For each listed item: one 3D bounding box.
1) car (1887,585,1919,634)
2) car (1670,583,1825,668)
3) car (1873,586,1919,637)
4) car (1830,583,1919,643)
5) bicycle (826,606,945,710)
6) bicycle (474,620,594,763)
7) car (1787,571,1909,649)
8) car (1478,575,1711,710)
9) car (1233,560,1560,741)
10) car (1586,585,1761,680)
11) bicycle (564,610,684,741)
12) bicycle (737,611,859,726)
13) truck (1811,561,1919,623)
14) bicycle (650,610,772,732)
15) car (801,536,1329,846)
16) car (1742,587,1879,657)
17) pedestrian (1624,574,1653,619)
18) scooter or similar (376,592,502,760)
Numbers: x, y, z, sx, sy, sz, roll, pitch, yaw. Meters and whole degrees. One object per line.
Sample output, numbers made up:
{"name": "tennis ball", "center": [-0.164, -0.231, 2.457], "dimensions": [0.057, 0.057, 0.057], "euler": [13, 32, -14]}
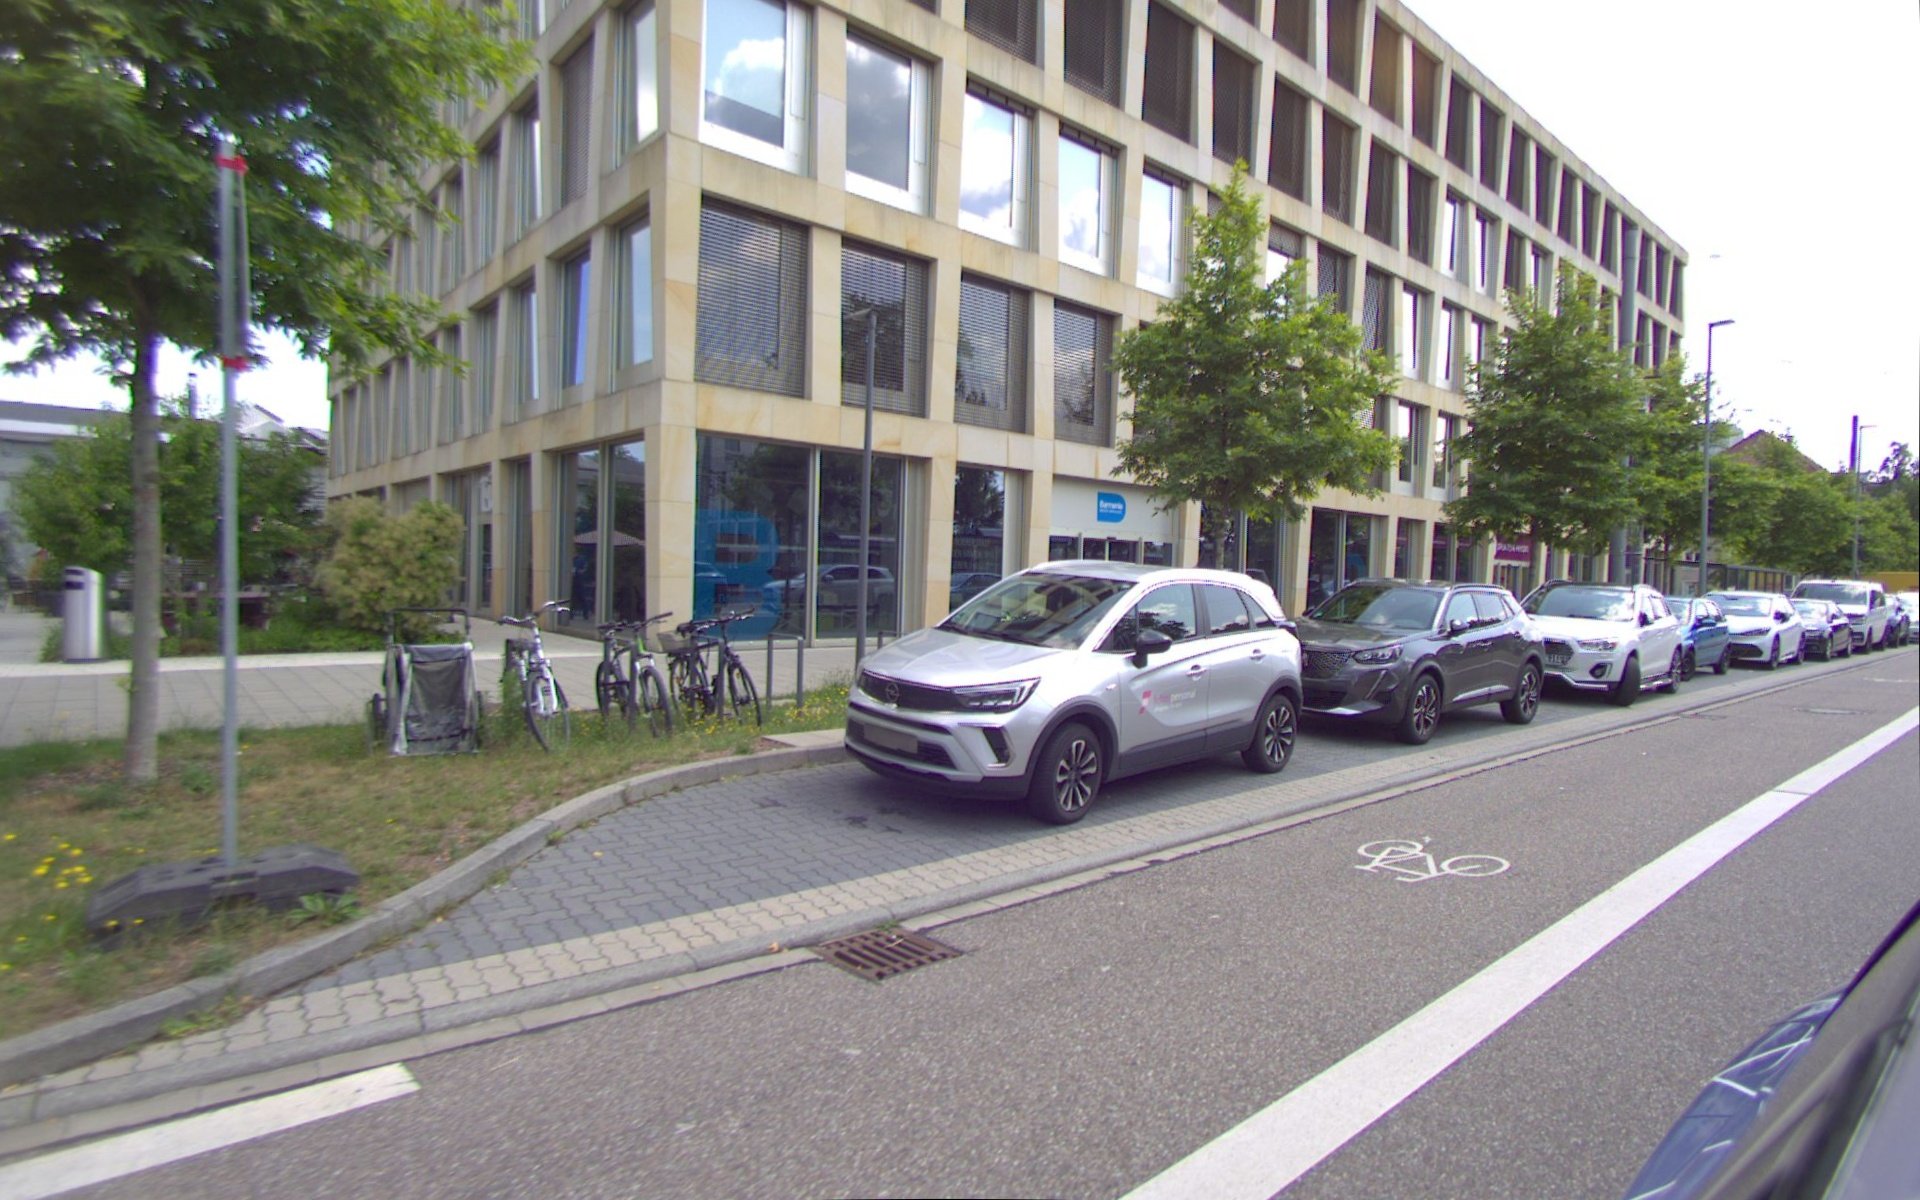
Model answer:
{"name": "car", "center": [36.952, 0.360, 38.607], "dimensions": [4.755, 1.789, 1.772], "euler": [0, 2, -41]}
{"name": "car", "center": [16.818, 0.467, 21.556], "dimensions": [4.086, 1.548, 1.797], "euler": [0, 4, -41]}
{"name": "car", "center": [33.284, 0.387, 35.269], "dimensions": [3.792, 1.640, 1.724], "euler": [0, 2, -41]}
{"name": "car", "center": [28.988, 0.370, 31.867], "dimensions": [4.448, 1.660, 1.725], "euler": [0, 4, -41]}
{"name": "bicycle", "center": [-0.810, 0.574, 10.666], "dimensions": [0.496, 0.928, 1.500], "euler": [-3, 4, -38]}
{"name": "bicycle", "center": [-3.443, 0.682, 8.126], "dimensions": [0.496, 0.928, 1.500], "euler": [-3, 4, -38]}
{"name": "car", "center": [25.058, 0.231, 28.490], "dimensions": [4.759, 1.962, 1.886], "euler": [0, 3, -41]}
{"name": "car", "center": [9.286, 0.513, 14.686], "dimensions": [4.079, 1.625, 1.689], "euler": [0, 3, -41]}
{"name": "car", "center": [4.816, 0.424, 10.943], "dimensions": [3.858, 1.567, 1.689], "euler": [0, 4, -41]}
{"name": "car", "center": [13.145, 0.524, 18.573], "dimensions": [3.881, 1.475, 1.689], "euler": [0, 4, -41]}
{"name": "bicycle", "center": [-2.920, 0.606, 8.718], "dimensions": [0.496, 0.928, 1.500], "euler": [-3, 4, -38]}
{"name": "bicycle", "center": [-1.602, 0.625, 9.853], "dimensions": [0.496, 0.928, 1.500], "euler": [-3, 4, -38]}
{"name": "truck", "center": [47.022, -0.398, 50.361], "dimensions": [2.413, 2.902, 6.816], "euler": [0, 3, -42]}
{"name": "bicycle", "center": [-2.299, 0.605, 9.253], "dimensions": [0.496, 0.928, 1.500], "euler": [-4, 5, -37]}
{"name": "car", "center": [0.957, 0.454, 7.513], "dimensions": [3.923, 1.653, 1.688], "euler": [0, 5, -43]}
{"name": "car", "center": [21.041, 0.478, 24.977], "dimensions": [4.484, 1.505, 1.886], "euler": [0, 3, -41]}
{"name": "pedestrian", "center": [24.346, -0.126, 36.312], "dimensions": [0.889, 1.570, 0.638], "euler": [0, 2, -41]}
{"name": "scooter or similar", "center": [-4.093, 0.542, 7.923], "dimensions": [0.705, 1.189, 1.054], "euler": [0, 1, -37]}
